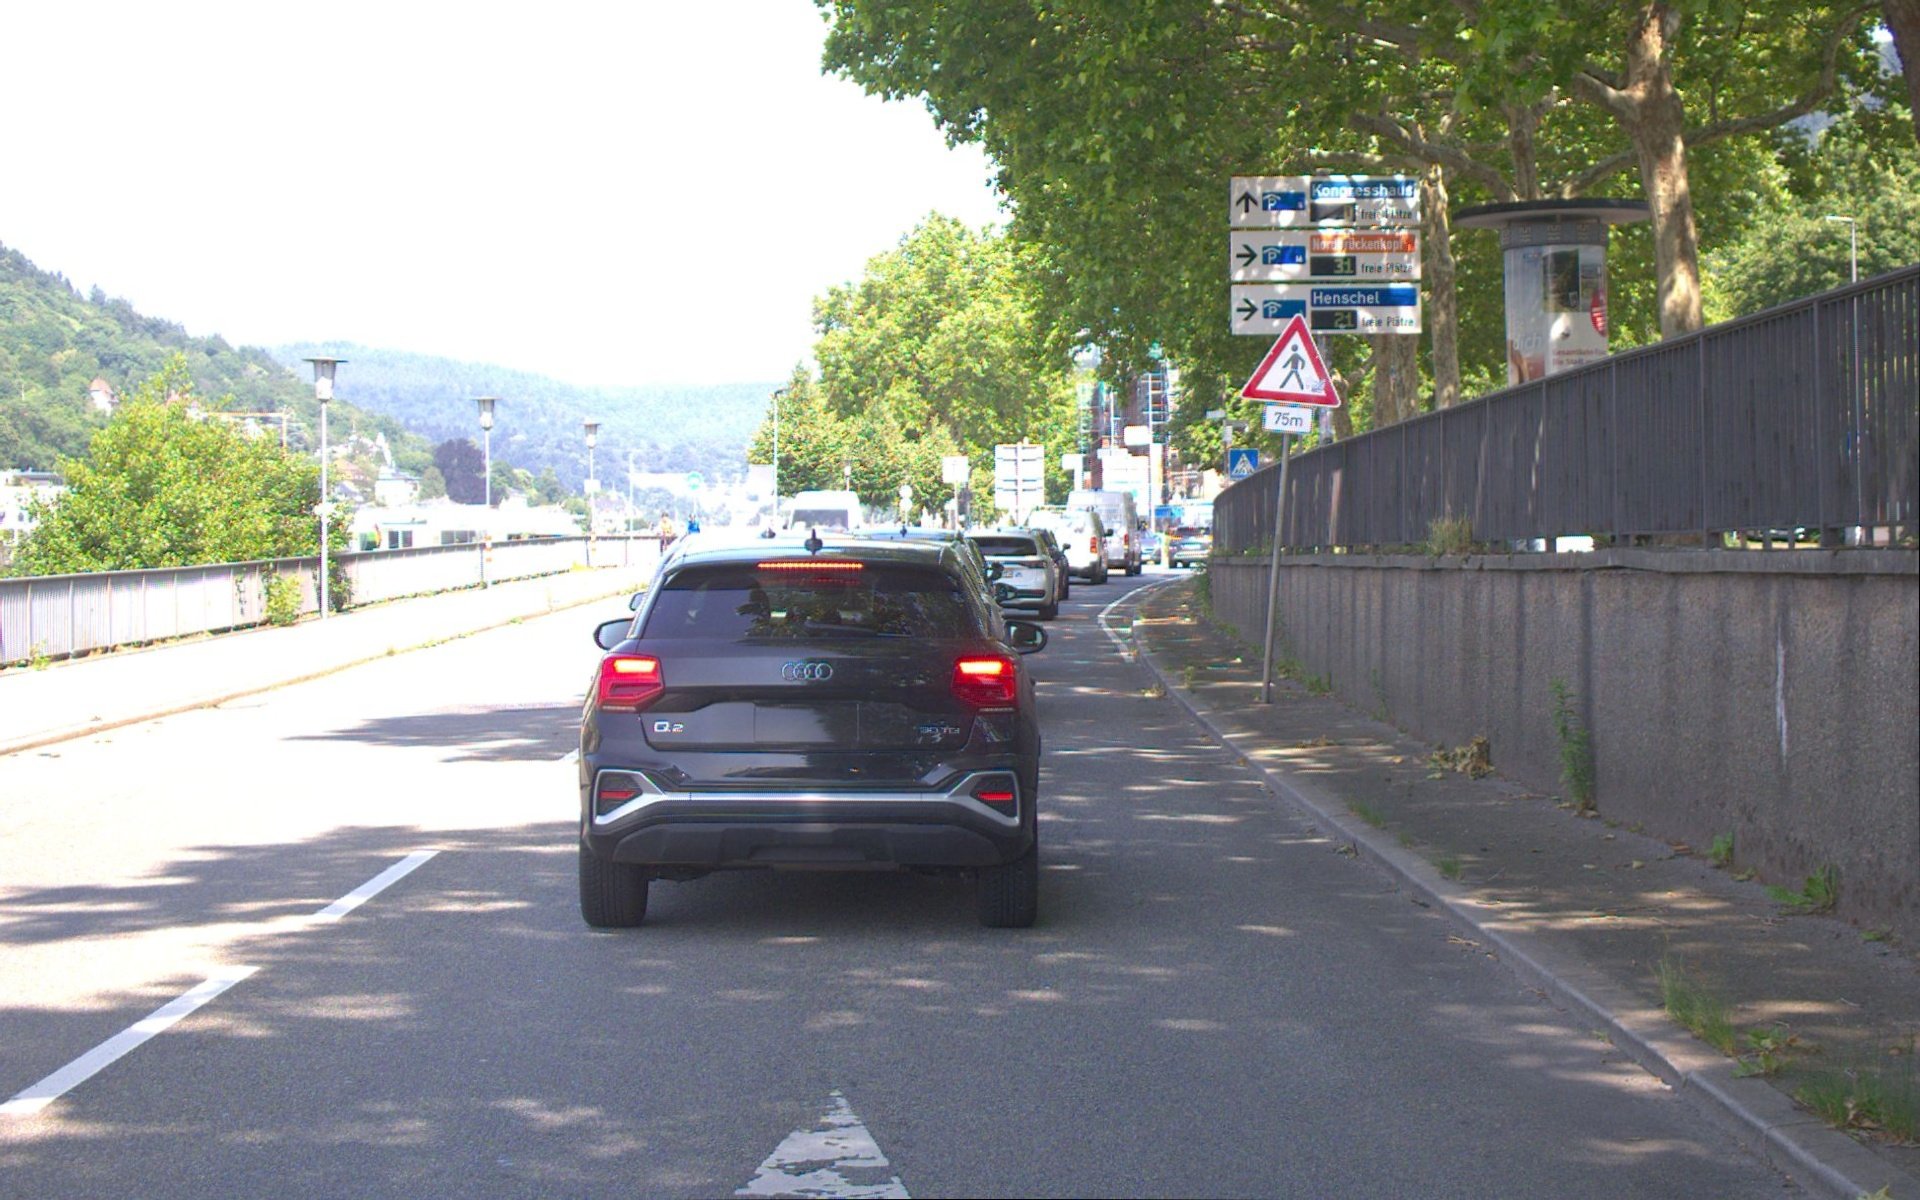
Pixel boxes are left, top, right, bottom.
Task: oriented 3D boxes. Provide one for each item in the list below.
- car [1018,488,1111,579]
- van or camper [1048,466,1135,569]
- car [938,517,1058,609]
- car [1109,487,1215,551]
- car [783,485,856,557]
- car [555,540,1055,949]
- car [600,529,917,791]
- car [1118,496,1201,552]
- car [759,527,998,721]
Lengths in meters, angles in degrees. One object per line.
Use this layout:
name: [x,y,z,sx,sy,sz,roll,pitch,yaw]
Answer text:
car: [2.683,-1.711,87.635,1.994,2.162,3.999,-3,1,6]
van or camper: [3.822,-2.405,100.862,2.310,2.837,4.246,-3,1,1]
car: [0.587,-0.626,56.390,1.828,1.439,4.000,0,1,-1]
car: [6.970,-2.796,119.237,3.098,2.007,5.825,-3,1,-1]
car: [-4.193,-2.350,102.831,1.993,2.007,4.000,-3,1,-1]
car: [-0.612,0.497,14.652,1.828,1.481,4.000,0,1,-1]
car: [-1.212,0.307,21.958,1.828,1.506,4.000,0,1,-1]
car: [7.664,-2.928,132.831,2.661,2.007,5.825,-3,1,-1]
car: [-0.673,0.145,28.493,1.828,1.481,4.000,0,1,-1]
